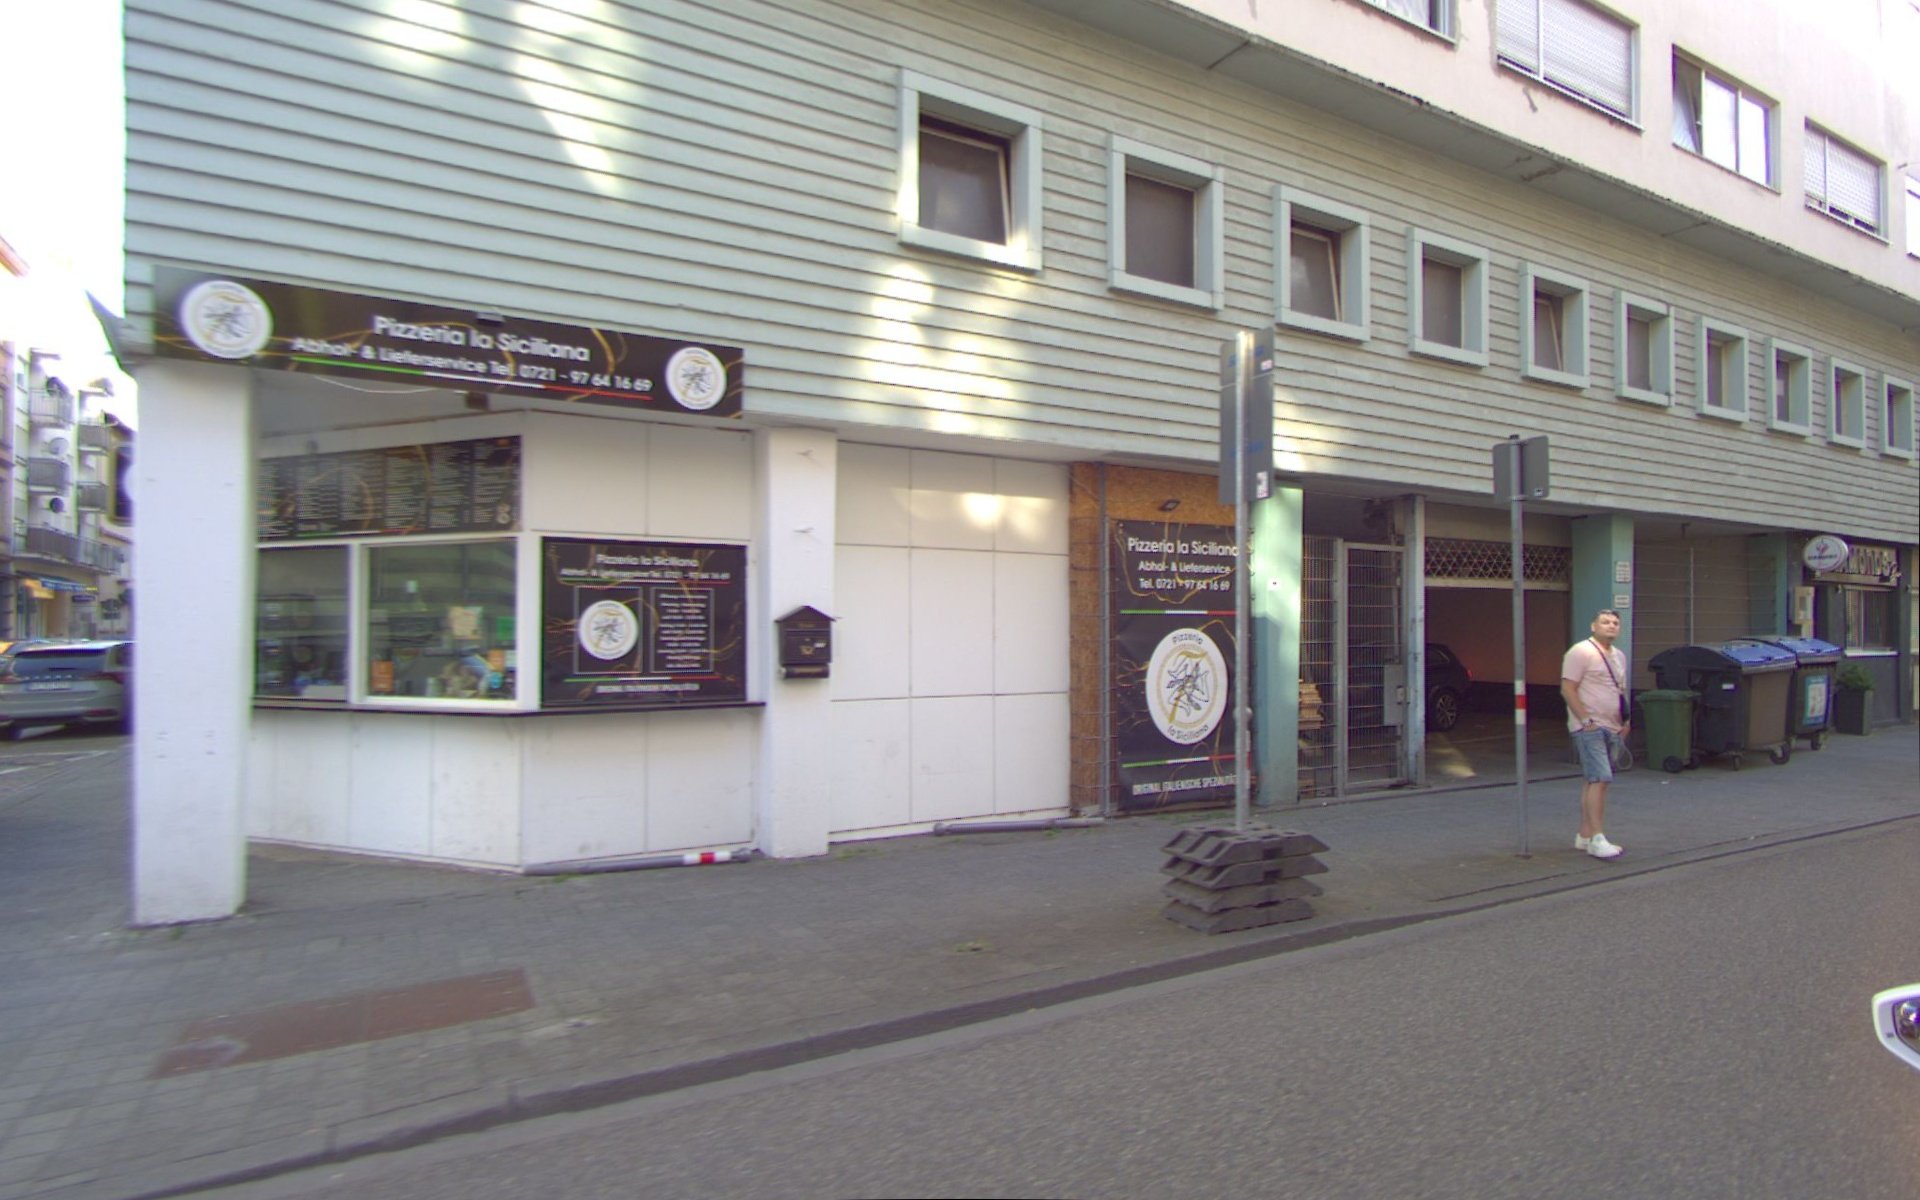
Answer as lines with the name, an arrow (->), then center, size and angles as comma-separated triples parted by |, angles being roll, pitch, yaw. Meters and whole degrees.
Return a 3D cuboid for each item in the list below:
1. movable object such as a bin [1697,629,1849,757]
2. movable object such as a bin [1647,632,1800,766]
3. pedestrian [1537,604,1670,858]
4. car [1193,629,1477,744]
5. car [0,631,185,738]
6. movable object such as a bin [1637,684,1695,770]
movable object such as a bin -> 10.585, 1.155, 13.098 | 1.326, 1.540, 1.117 | 0, -1, -30
movable object such as a bin -> 9.259, 1.148, 12.184 | 1.457, 1.491, 0.964 | -1, -1, -30
pedestrian -> 4.513, 0.883, 7.079 | 0.615, 1.692, 0.494 | 2, 1, 14
car -> 6.025, 1.272, 16.011 | 4.546, 1.555, 1.754 | 0, -1, -29
car -> -14.409, 1.298, 16.654 | 1.764, 1.501, 3.886 | -1, -1, -28
movable object such as a bin -> 8.320, 1.487, 11.833 | 0.461, 0.954, 0.391 | 0, -1, -30
